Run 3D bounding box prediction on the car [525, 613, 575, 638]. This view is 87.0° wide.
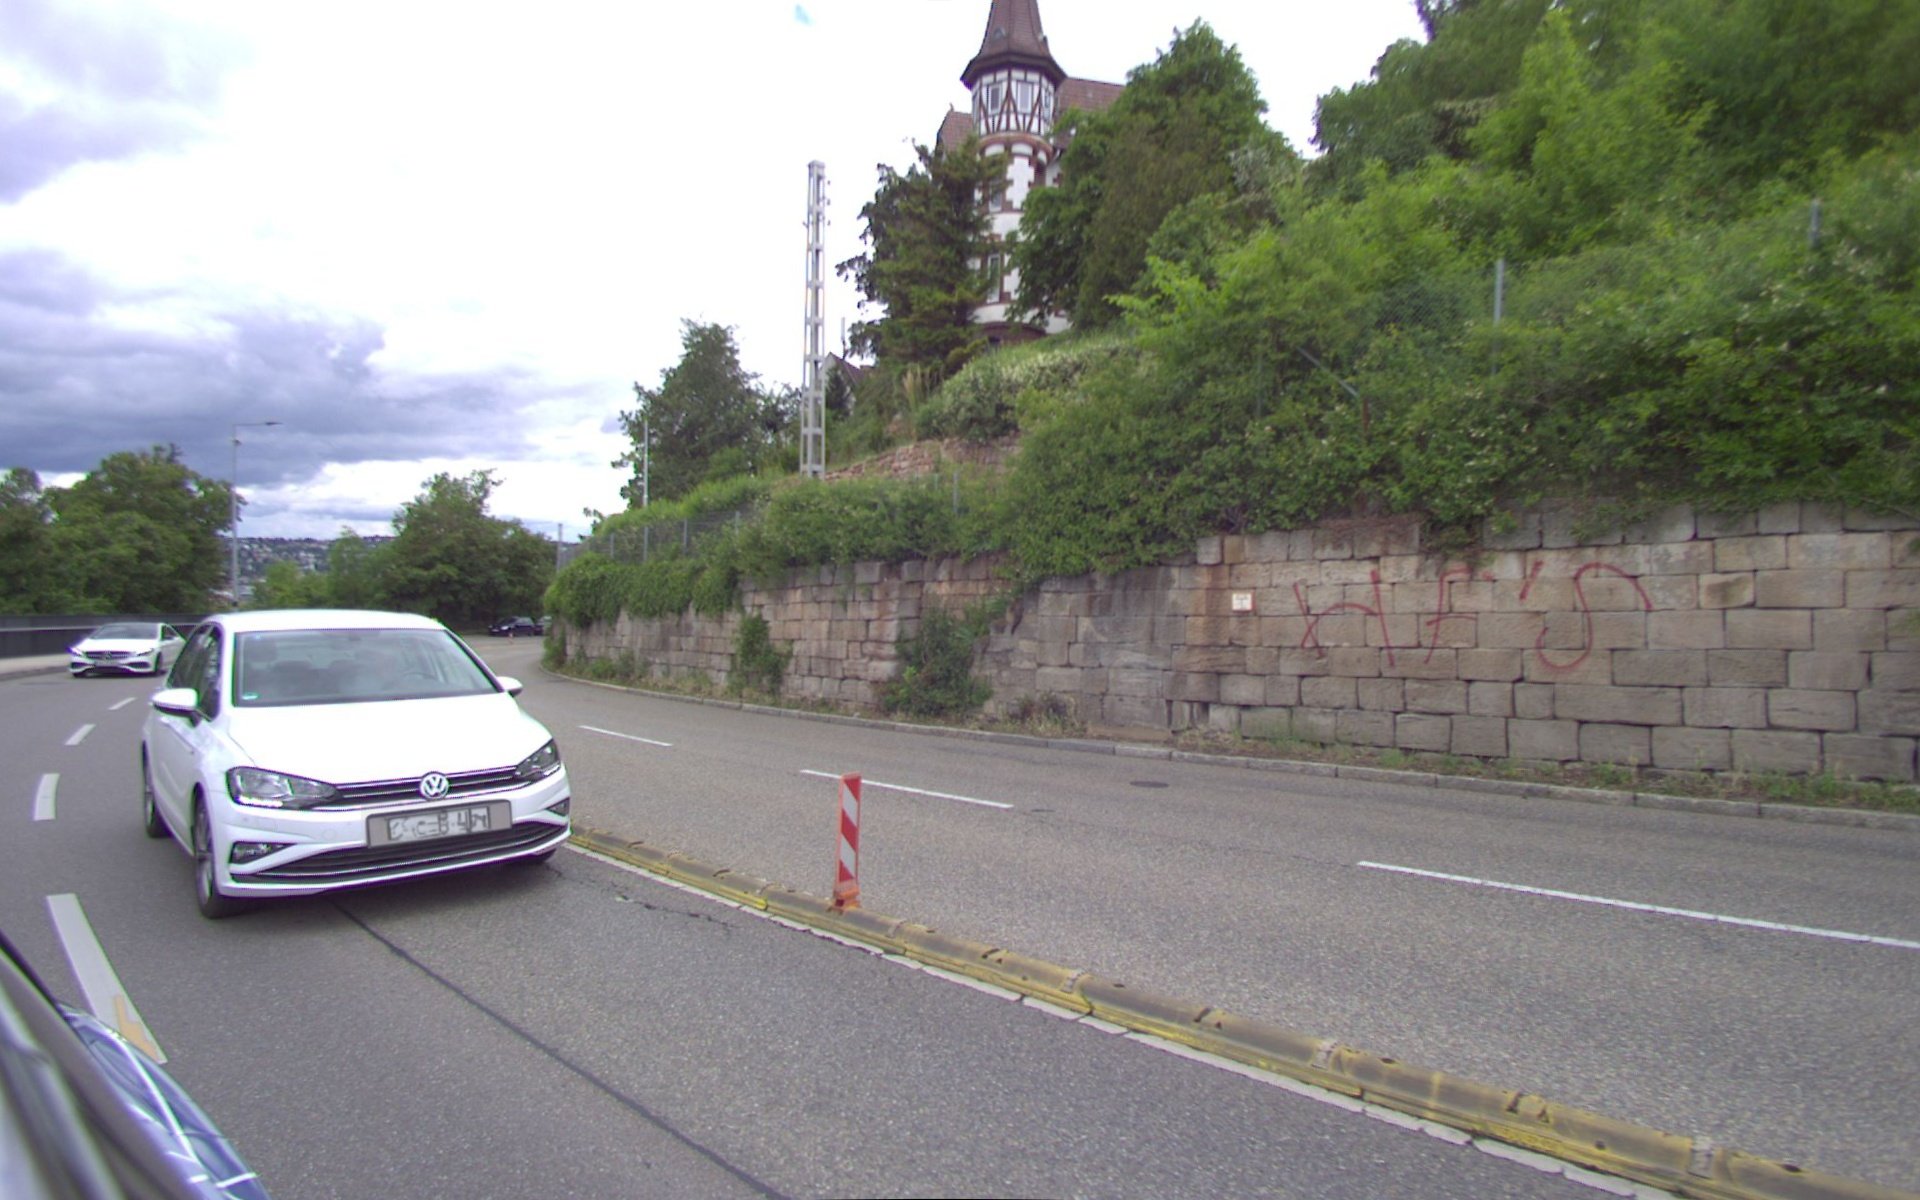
[{"bbox_3d":[-32.851,2.066,81.201,1.680,1.845,4.392,4,-1,8],"label":"car"}]

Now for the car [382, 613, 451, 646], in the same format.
[{"bbox_3d":[-27.860,1.484,51.986,1.894,1.505,4.150,1,0,-10],"label":"car"}]

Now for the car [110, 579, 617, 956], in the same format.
[{"bbox_3d":[-4.056,0.771,6.497,1.800,1.592,4.359,2,-2,-44],"label":"car"}]

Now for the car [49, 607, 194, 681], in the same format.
[{"bbox_3d":[-22.334,1.119,27.145,1.965,1.731,4.013,2,0,-25],"label":"car"}]

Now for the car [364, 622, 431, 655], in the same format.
[{"bbox_3d":[-30.644,2.053,55.292,1.871,1.505,4.150,0,1,-9],"label":"car"}]
